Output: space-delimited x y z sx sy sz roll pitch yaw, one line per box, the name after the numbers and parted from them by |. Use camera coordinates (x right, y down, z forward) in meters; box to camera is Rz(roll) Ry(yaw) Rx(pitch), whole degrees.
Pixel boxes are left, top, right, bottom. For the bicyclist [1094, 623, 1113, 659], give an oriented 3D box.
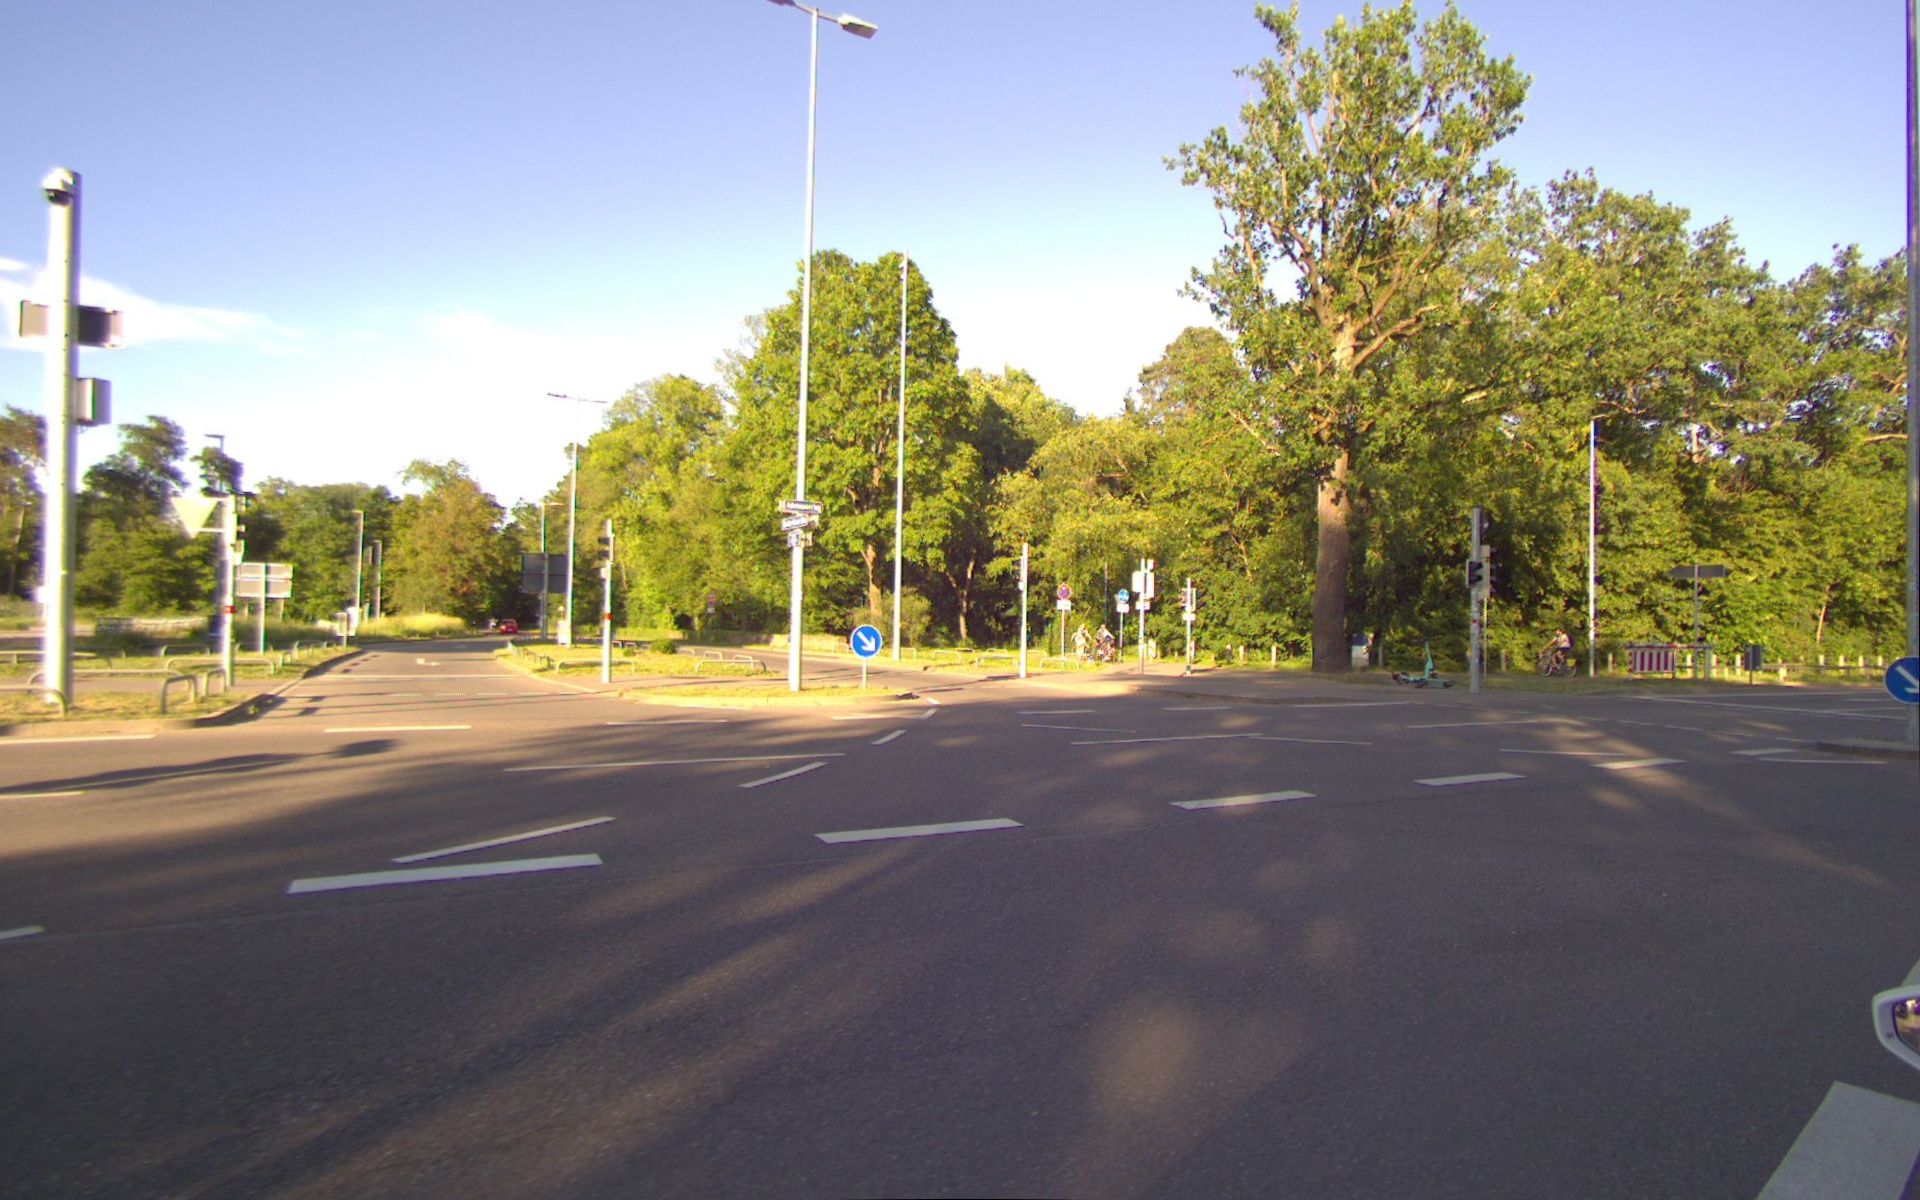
6.253 1.777 43.720 0.715 1.502 0.800 2 0 5 | bicyclist

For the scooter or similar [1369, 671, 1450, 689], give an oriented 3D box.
11.185 1.982 25.038 1.241 0.344 1.405 1 -1 -21 | scooter or similar

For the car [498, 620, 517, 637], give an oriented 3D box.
-46.280 2.920 102.835 1.633 1.530 3.977 2 0 -23 | car

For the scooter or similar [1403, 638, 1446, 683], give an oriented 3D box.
12.204 1.581 26.433 0.388 1.162 1.065 1 -1 -20 | scooter or similar

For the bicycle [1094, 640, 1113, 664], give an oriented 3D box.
6.234 2.253 43.691 0.769 0.990 1.591 2 0 6 | bicycle

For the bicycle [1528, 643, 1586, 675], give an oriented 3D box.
22.602 2.216 38.042 1.949 1.169 0.681 0 0 -11 | bicycle

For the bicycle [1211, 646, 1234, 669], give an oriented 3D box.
12.035 2.618 45.990 0.514 0.990 1.350 2 0 37 | bicycle
